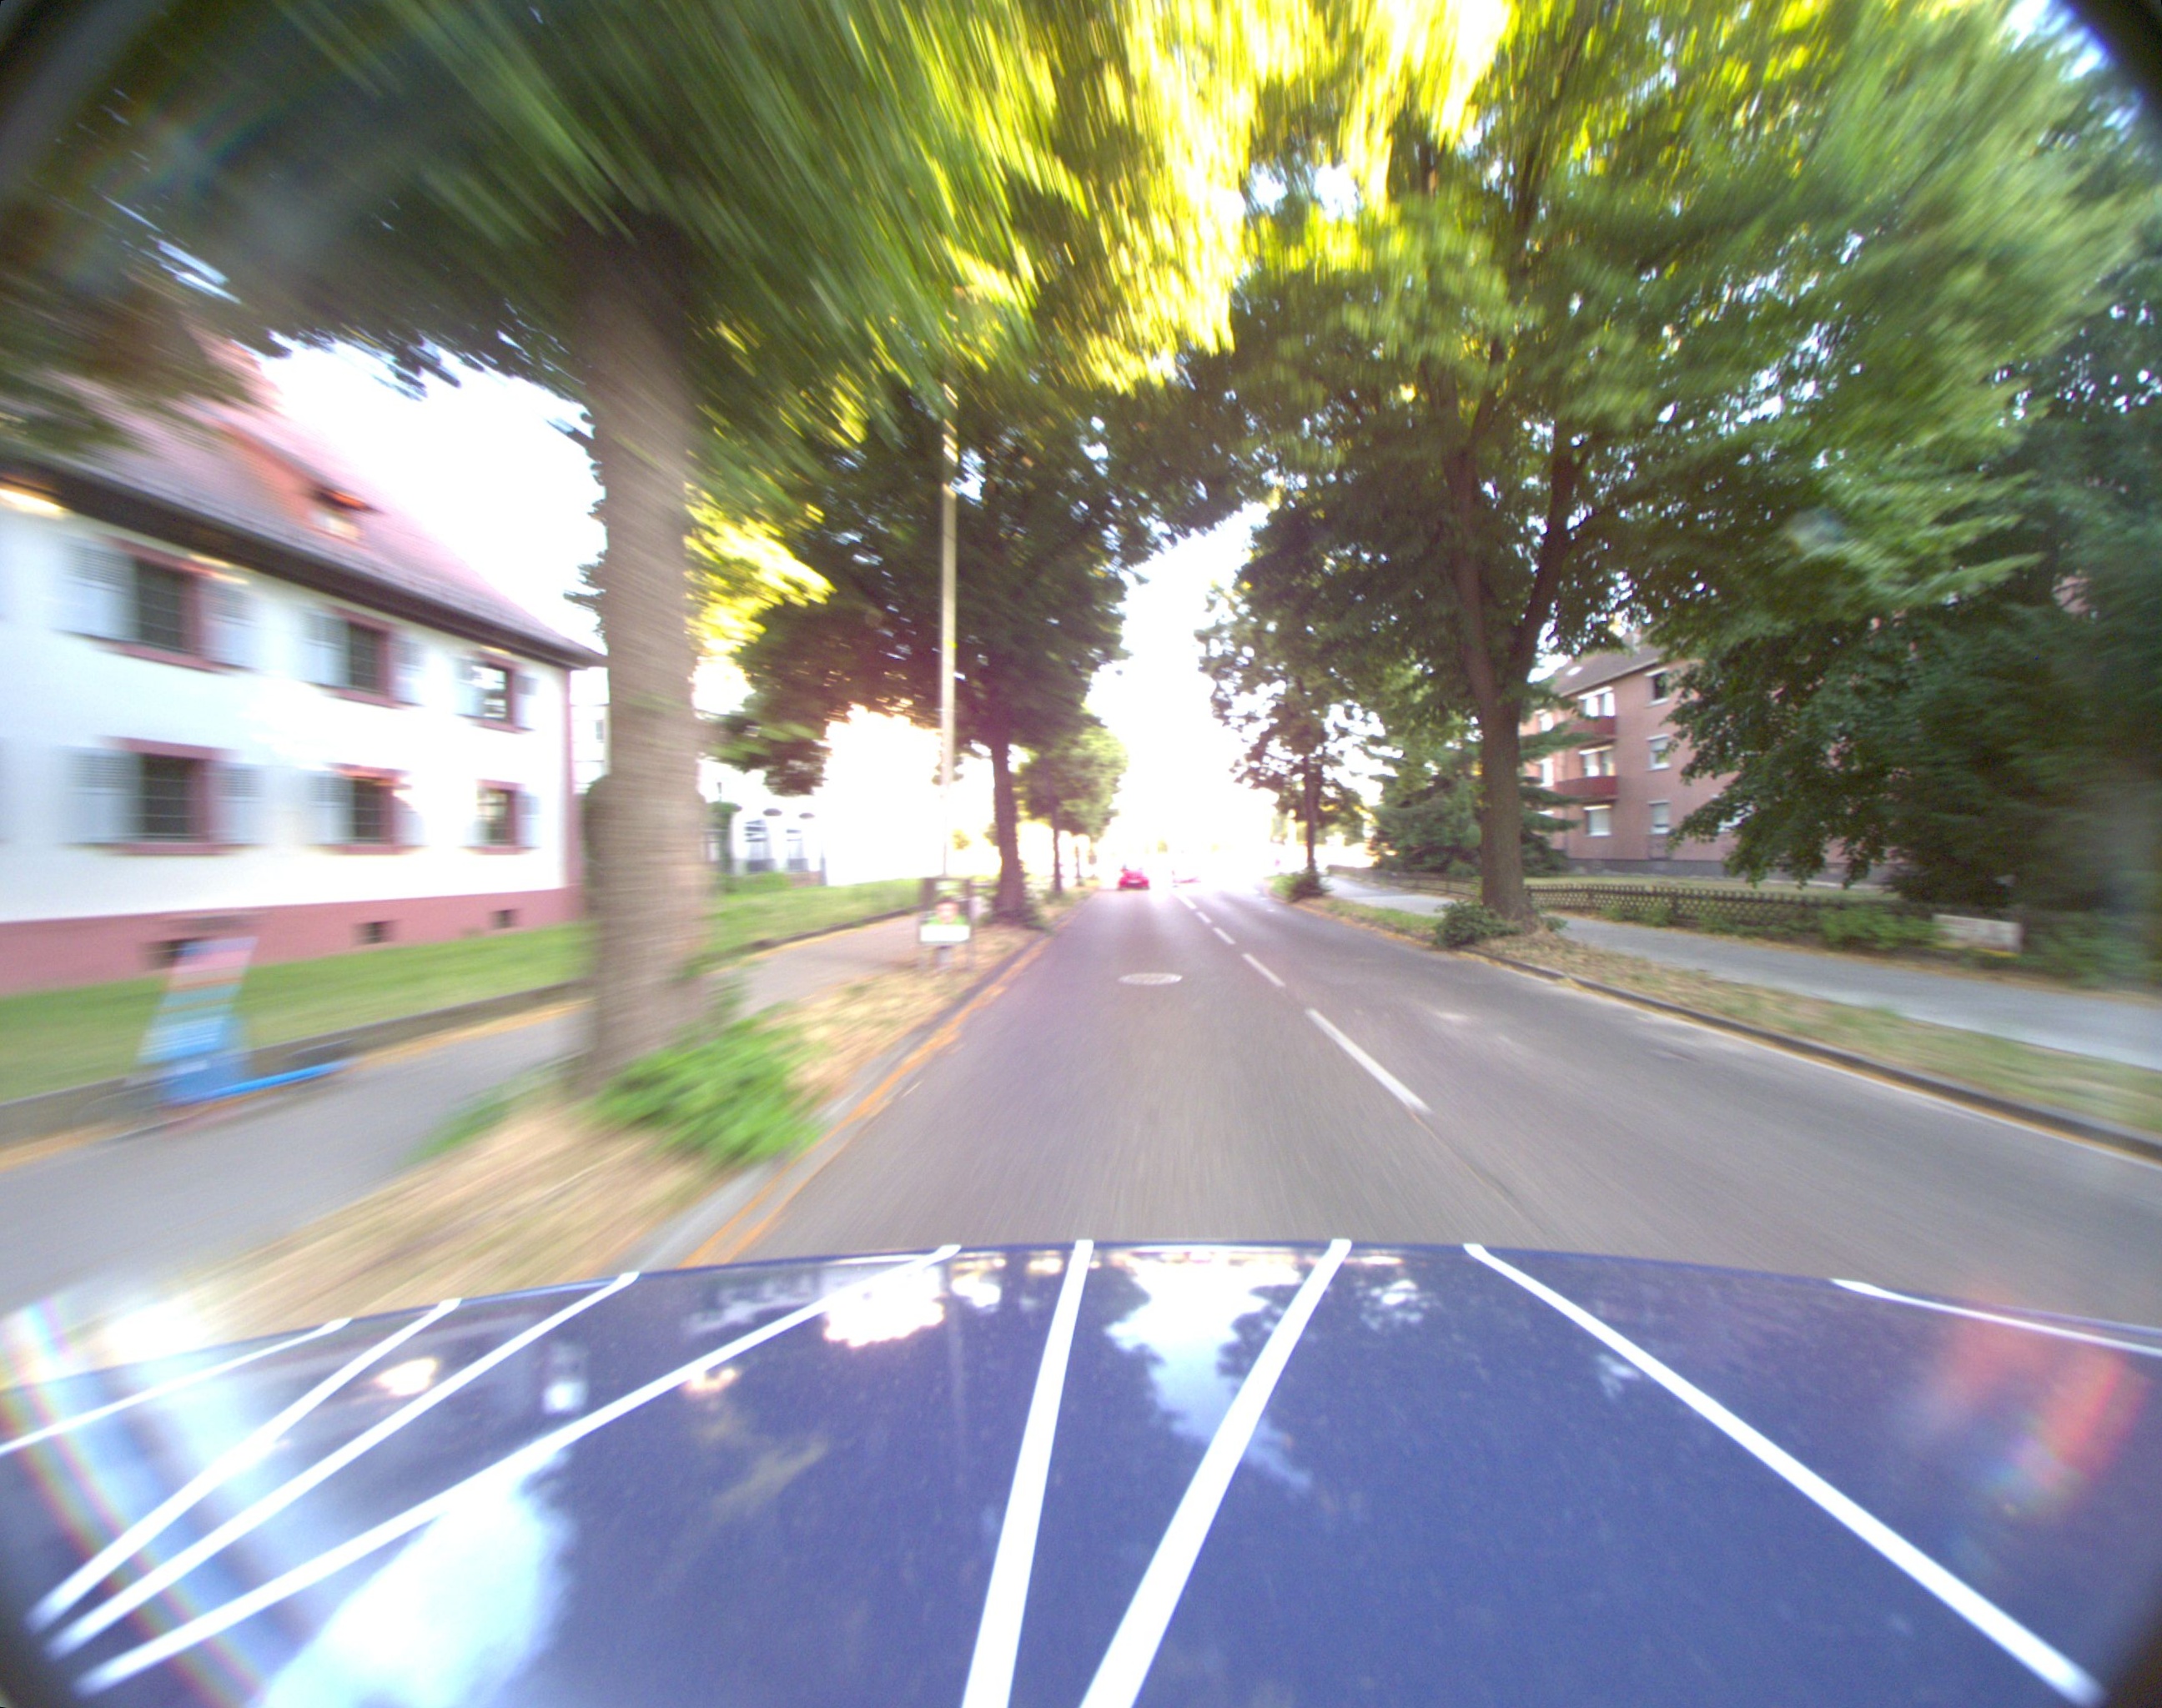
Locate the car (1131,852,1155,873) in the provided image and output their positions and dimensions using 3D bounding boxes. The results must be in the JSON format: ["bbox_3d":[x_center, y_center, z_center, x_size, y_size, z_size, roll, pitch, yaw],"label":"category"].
[{"bbox_3d":[5.088,0.662,61.626,1.789,1.548,4.410,-2,1,6],"label":"car"}]

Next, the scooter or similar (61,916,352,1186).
[{"bbox_3d":[-5.095,1.068,4.536,0.240,1.269,1.266,-1,1,-1],"label":"scooter or similar"}]

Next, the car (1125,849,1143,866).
[{"bbox_3d":[5.578,0.343,80.713,1.789,1.548,4.409,-2,1,3],"label":"car"}]

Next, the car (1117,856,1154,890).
[{"bbox_3d":[2.634,0.897,37.427,1.618,1.405,4.410,-2,1,2],"label":"car"}]
